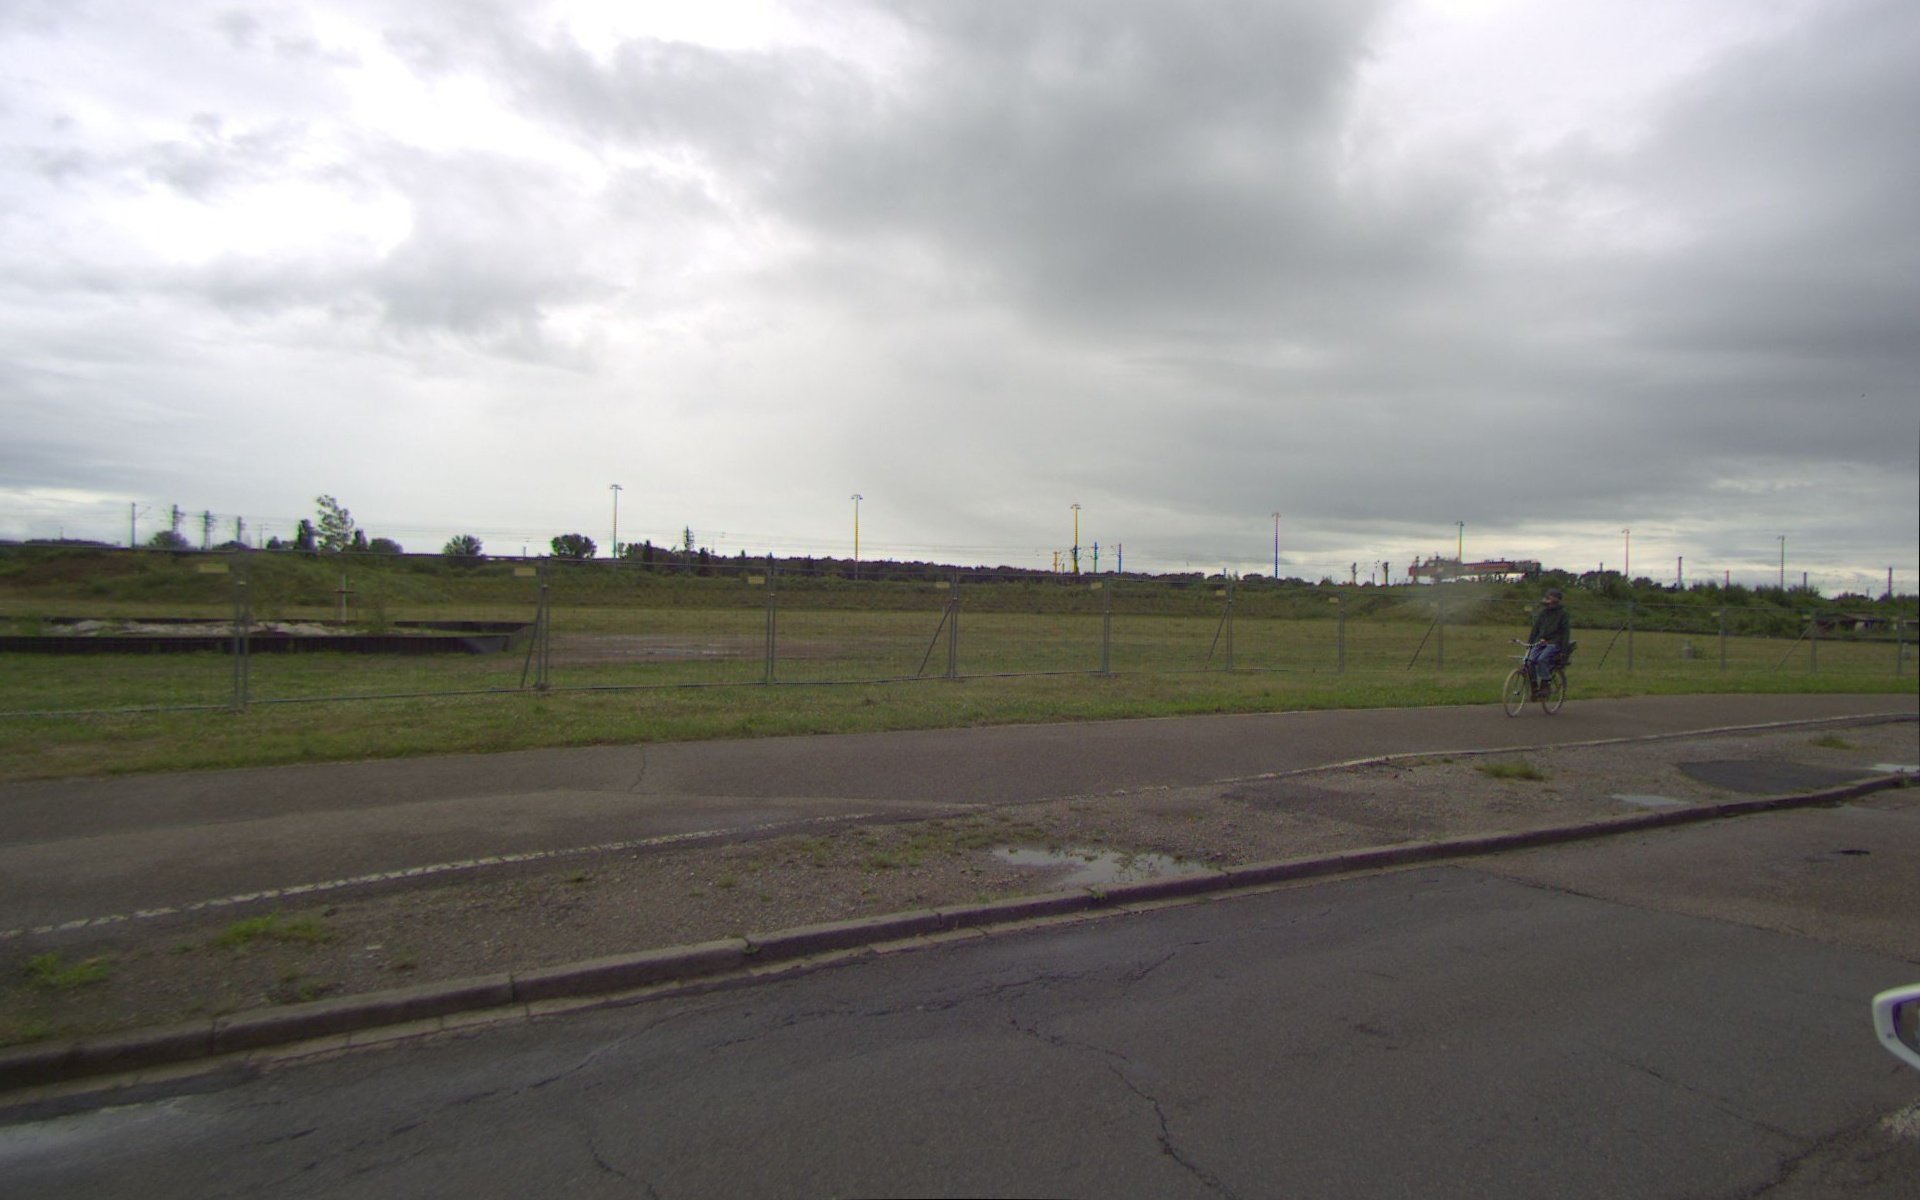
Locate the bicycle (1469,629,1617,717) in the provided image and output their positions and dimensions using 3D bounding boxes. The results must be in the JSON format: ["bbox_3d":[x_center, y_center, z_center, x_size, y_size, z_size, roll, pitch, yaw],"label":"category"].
[{"bbox_3d":[8.981,1.082,15.440,2.526,1.220,0.815,0,0,-30],"label":"bicycle"}]

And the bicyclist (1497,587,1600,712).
[{"bbox_3d":[9.059,0.727,15.465,1.314,1.846,0.823,0,1,-30],"label":"bicyclist"}]
